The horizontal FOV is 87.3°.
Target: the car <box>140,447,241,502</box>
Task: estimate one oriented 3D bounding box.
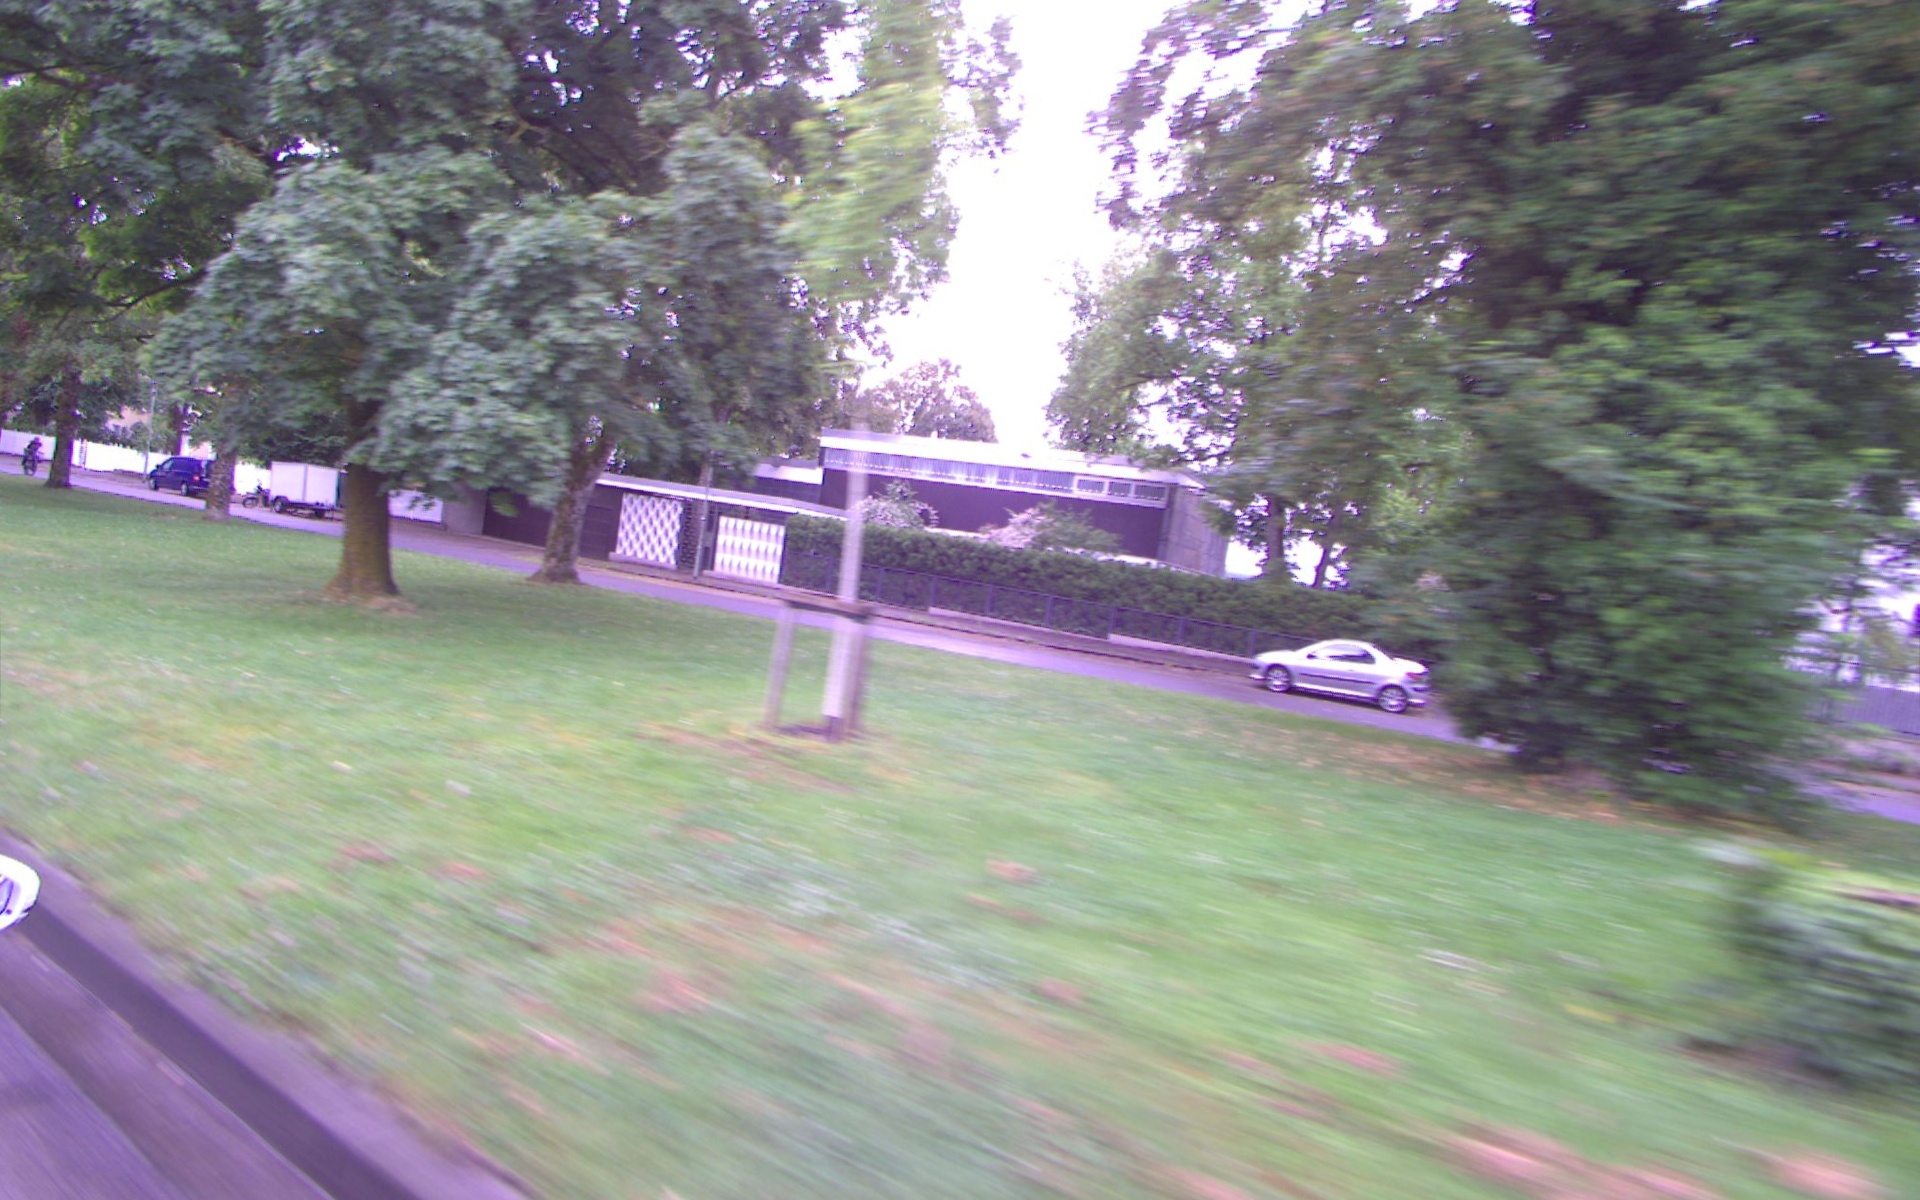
[{"bbox_3d":[-35.355,-5.772,46.200,4.568,1.834,1.942,11,5,29],"label":"car"}]

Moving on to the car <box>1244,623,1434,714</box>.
[{"bbox_3d":[8.435,1.448,22.441,3.646,1.395,1.681,8,4,29],"label":"car"}]

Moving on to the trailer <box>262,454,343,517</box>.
[{"bbox_3d":[-27.256,-4.727,41.716,2.898,2.183,1.438,9,4,27],"label":"trailer"}]

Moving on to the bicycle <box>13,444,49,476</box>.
[{"bbox_3d":[-39.249,-5.916,42.507,1.832,1.153,0.596,8,2,32],"label":"bicycle"}]

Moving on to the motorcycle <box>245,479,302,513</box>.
[{"bbox_3d":[-29.253,-4.436,42.874,1.876,1.107,0.651,7,4,-39],"label":"motorcycle"}]

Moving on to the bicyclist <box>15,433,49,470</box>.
[{"bbox_3d":[-39.188,-6.266,42.481,0.983,1.409,0.745,9,2,32],"label":"bicyclist"}]

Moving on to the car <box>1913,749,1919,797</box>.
[{"bbox_3d":[18.993,2.978,16.780,3.965,1.646,1.904,7,2,29],"label":"car"}]
